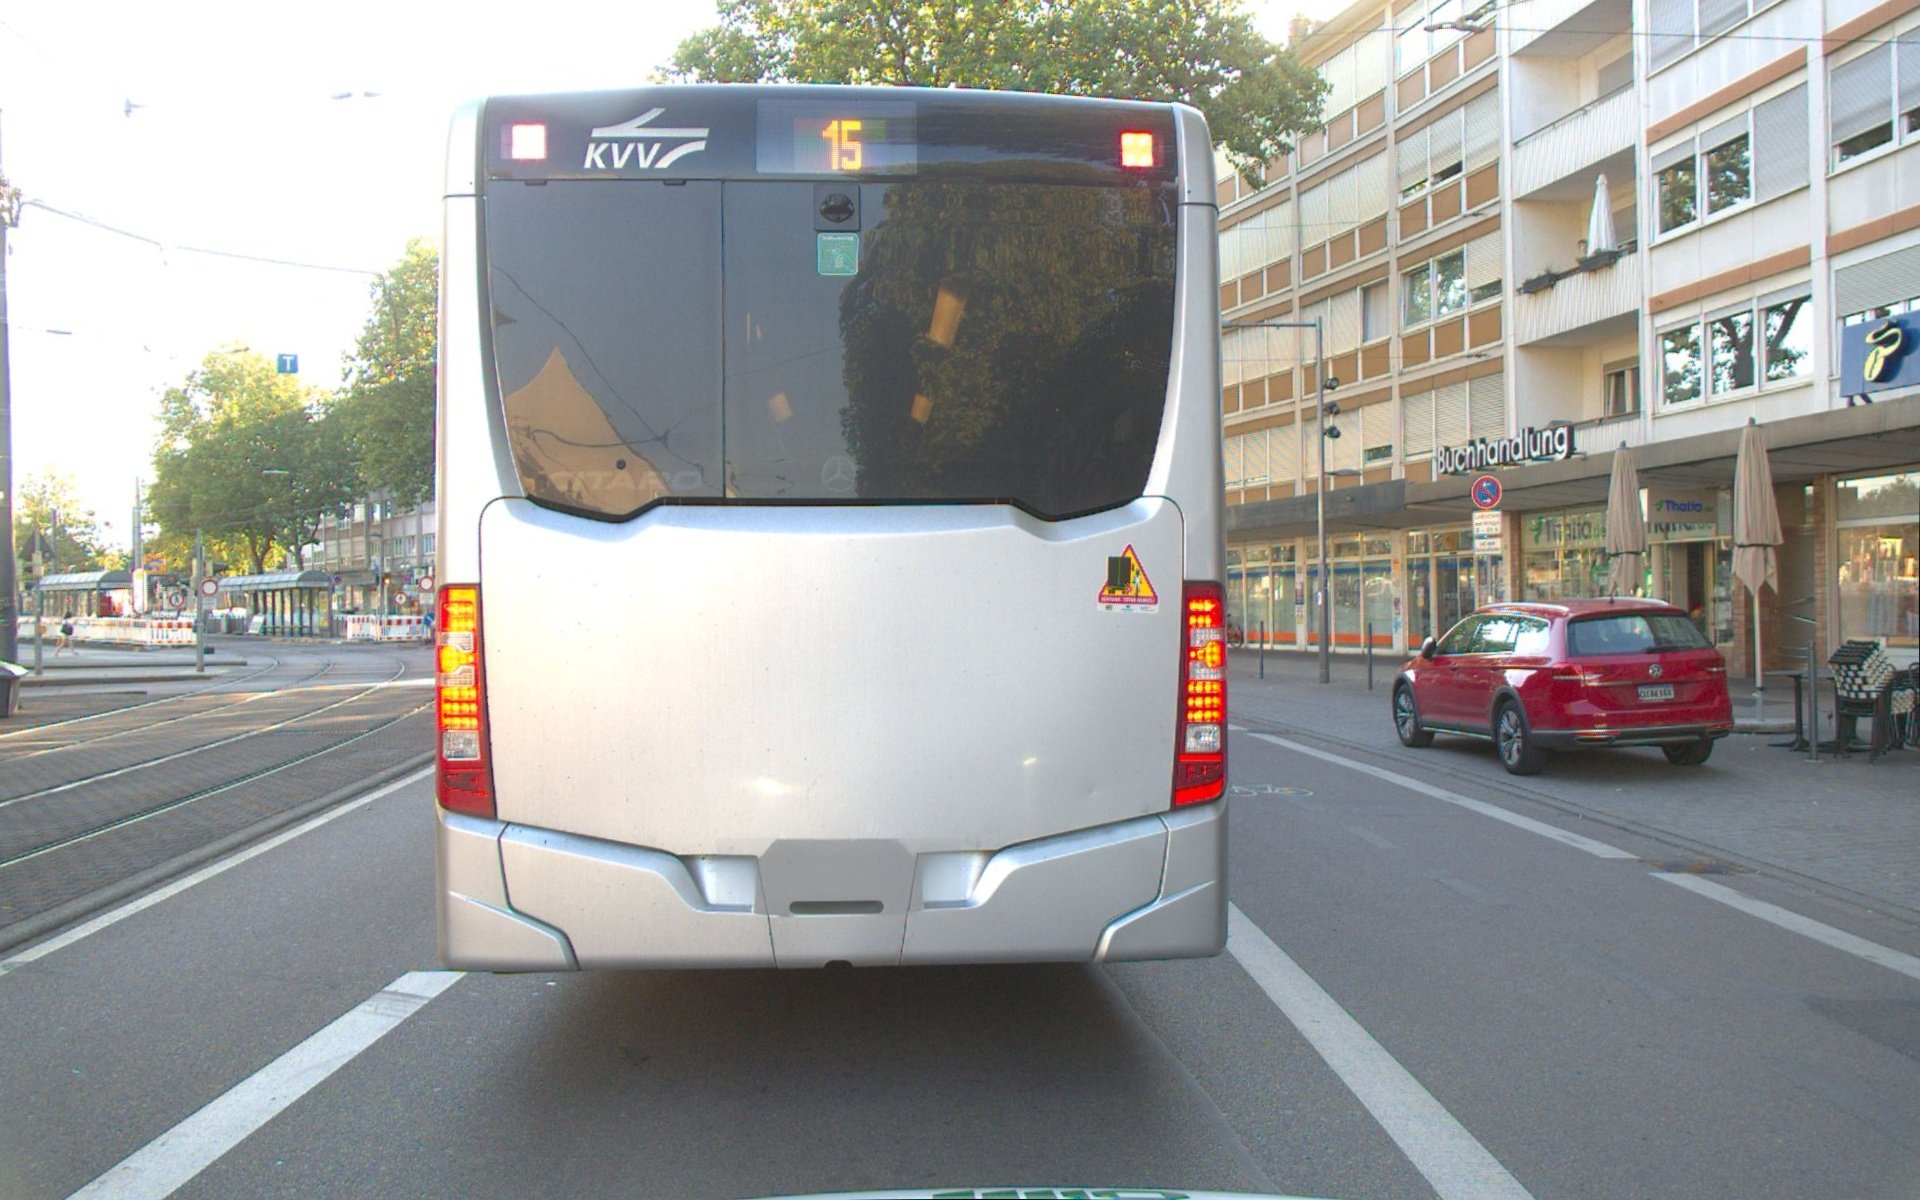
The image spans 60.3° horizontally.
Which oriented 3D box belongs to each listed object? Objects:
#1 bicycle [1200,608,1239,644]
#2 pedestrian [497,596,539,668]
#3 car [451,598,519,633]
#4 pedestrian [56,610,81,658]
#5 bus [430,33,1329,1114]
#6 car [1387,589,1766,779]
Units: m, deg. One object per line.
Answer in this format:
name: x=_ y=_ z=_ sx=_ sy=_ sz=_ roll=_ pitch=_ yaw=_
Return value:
bicycle: x=7.181 y=0.709 z=45.789 sx=0.406 sy=0.961 sz=1.431 roll=-1 pitch=0 yaw=-20
pedestrian: x=-11.040 y=0.795 z=41.359 sx=0.878 sy=1.758 sz=0.517 roll=-1 pitch=0 yaw=1
car: x=-25.214 y=0.815 z=87.716 sx=1.982 sy=1.823 sz=3.940 roll=1 pitch=-1 yaw=-41
pedestrian: x=-31.094 y=1.181 z=57.691 sx=0.653 sy=1.685 sz=0.436 roll=-1 pitch=-1 yaw=-44
bus: x=-0.428 y=-0.061 z=9.776 sx=2.578 sy=3.081 sz=9.992 roll=0 pitch=0 yaw=-3
car: x=5.707 y=0.702 z=15.937 sx=1.735 sy=1.508 sz=4.299 roll=-2 pitch=0 yaw=-4
